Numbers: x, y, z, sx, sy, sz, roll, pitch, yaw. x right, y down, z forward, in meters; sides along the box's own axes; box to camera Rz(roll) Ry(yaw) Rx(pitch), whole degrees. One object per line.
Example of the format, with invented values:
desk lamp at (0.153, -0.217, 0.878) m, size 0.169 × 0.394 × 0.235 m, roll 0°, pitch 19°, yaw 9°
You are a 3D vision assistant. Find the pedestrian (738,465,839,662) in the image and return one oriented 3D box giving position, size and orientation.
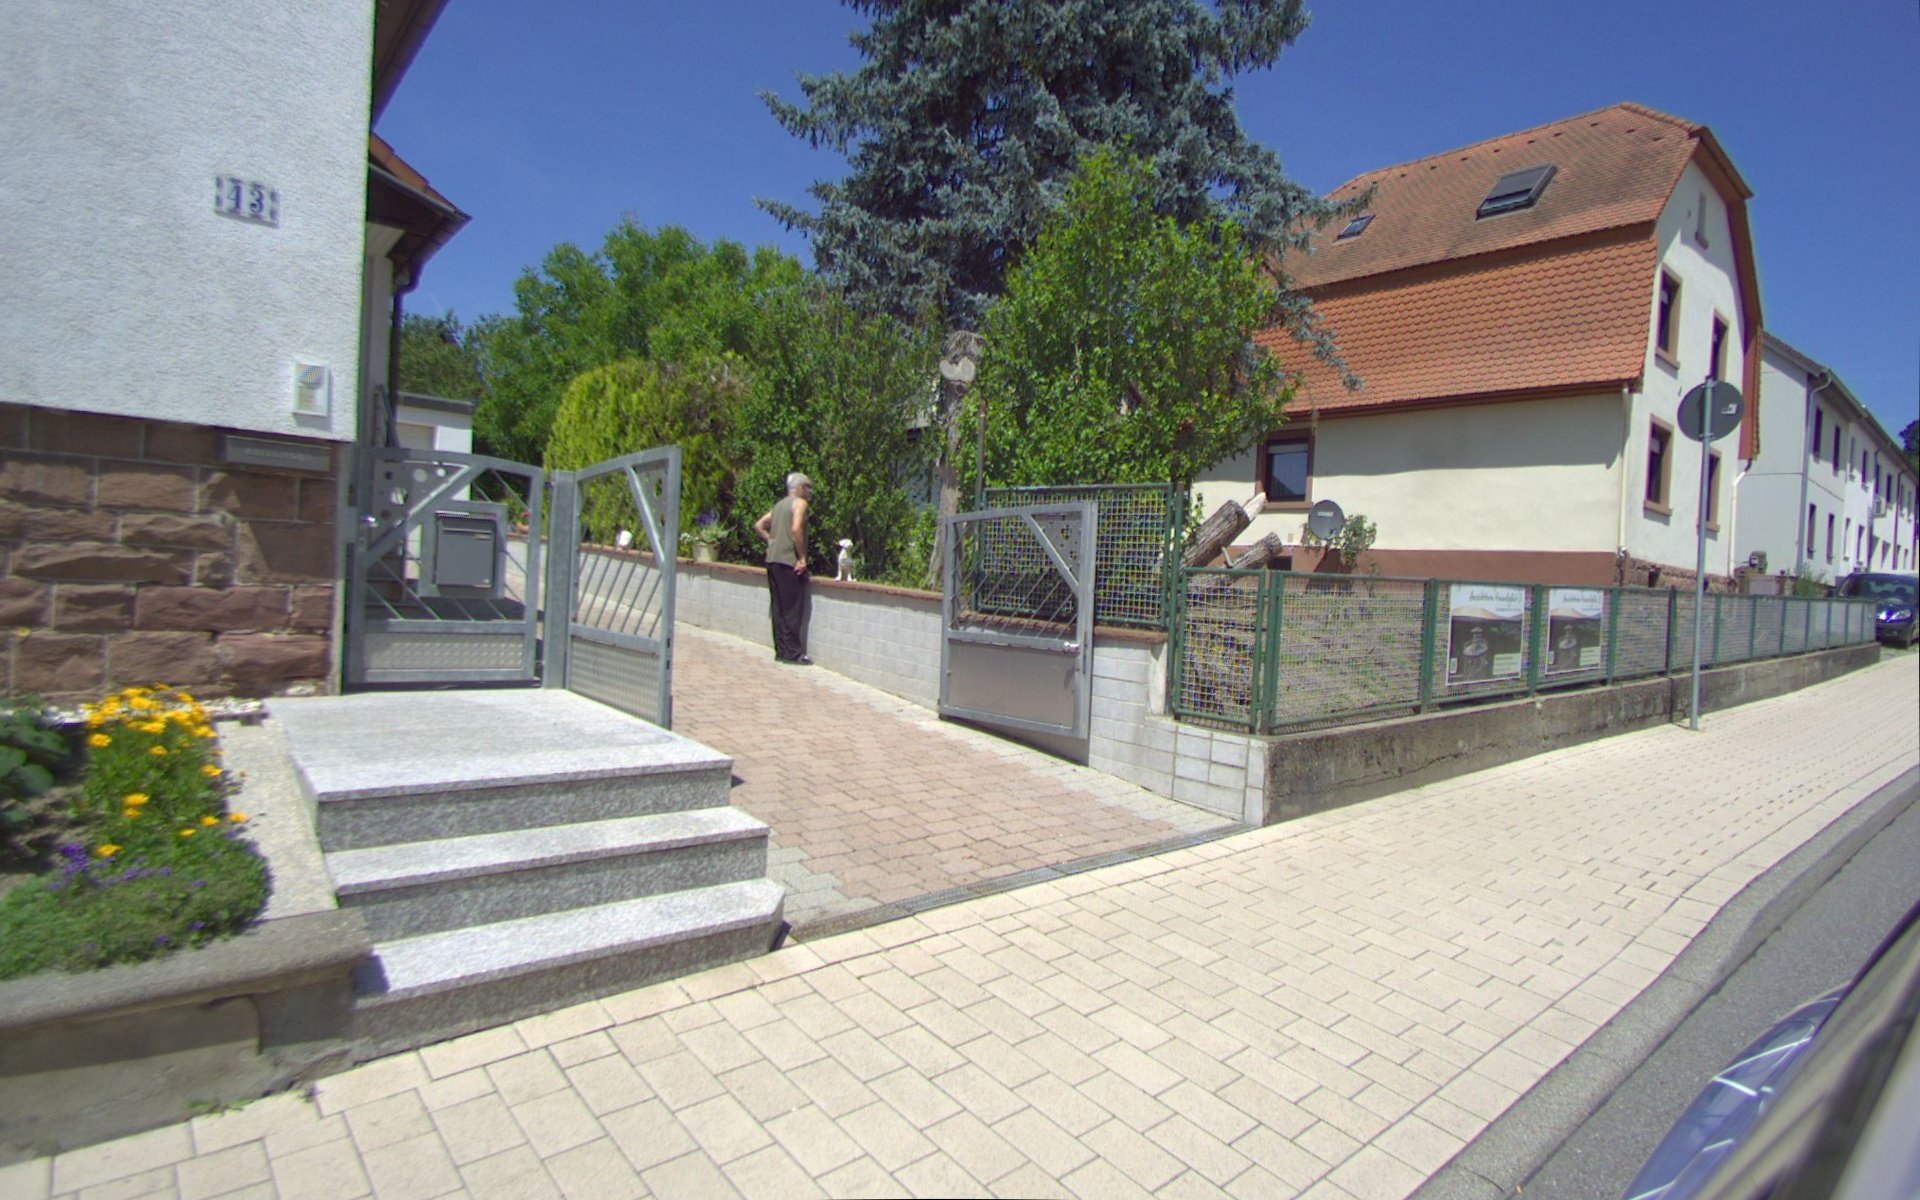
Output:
pedestrian at (-1.501, -0.329, 8.807) m, size 0.543 × 1.634 × 0.606 m, roll 1°, pitch 6°, yaw -40°

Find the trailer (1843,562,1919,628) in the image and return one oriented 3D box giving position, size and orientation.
trailer at (29.580, -0.163, 31.924) m, size 2.231 × 2.039 × 1.324 m, roll 1°, pitch 0°, yaw 2°

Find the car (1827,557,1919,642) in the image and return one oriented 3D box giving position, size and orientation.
car at (25.982, -0.036, 28.171) m, size 4.689 × 1.993 × 1.858 m, roll 0°, pitch 8°, yaw -40°
